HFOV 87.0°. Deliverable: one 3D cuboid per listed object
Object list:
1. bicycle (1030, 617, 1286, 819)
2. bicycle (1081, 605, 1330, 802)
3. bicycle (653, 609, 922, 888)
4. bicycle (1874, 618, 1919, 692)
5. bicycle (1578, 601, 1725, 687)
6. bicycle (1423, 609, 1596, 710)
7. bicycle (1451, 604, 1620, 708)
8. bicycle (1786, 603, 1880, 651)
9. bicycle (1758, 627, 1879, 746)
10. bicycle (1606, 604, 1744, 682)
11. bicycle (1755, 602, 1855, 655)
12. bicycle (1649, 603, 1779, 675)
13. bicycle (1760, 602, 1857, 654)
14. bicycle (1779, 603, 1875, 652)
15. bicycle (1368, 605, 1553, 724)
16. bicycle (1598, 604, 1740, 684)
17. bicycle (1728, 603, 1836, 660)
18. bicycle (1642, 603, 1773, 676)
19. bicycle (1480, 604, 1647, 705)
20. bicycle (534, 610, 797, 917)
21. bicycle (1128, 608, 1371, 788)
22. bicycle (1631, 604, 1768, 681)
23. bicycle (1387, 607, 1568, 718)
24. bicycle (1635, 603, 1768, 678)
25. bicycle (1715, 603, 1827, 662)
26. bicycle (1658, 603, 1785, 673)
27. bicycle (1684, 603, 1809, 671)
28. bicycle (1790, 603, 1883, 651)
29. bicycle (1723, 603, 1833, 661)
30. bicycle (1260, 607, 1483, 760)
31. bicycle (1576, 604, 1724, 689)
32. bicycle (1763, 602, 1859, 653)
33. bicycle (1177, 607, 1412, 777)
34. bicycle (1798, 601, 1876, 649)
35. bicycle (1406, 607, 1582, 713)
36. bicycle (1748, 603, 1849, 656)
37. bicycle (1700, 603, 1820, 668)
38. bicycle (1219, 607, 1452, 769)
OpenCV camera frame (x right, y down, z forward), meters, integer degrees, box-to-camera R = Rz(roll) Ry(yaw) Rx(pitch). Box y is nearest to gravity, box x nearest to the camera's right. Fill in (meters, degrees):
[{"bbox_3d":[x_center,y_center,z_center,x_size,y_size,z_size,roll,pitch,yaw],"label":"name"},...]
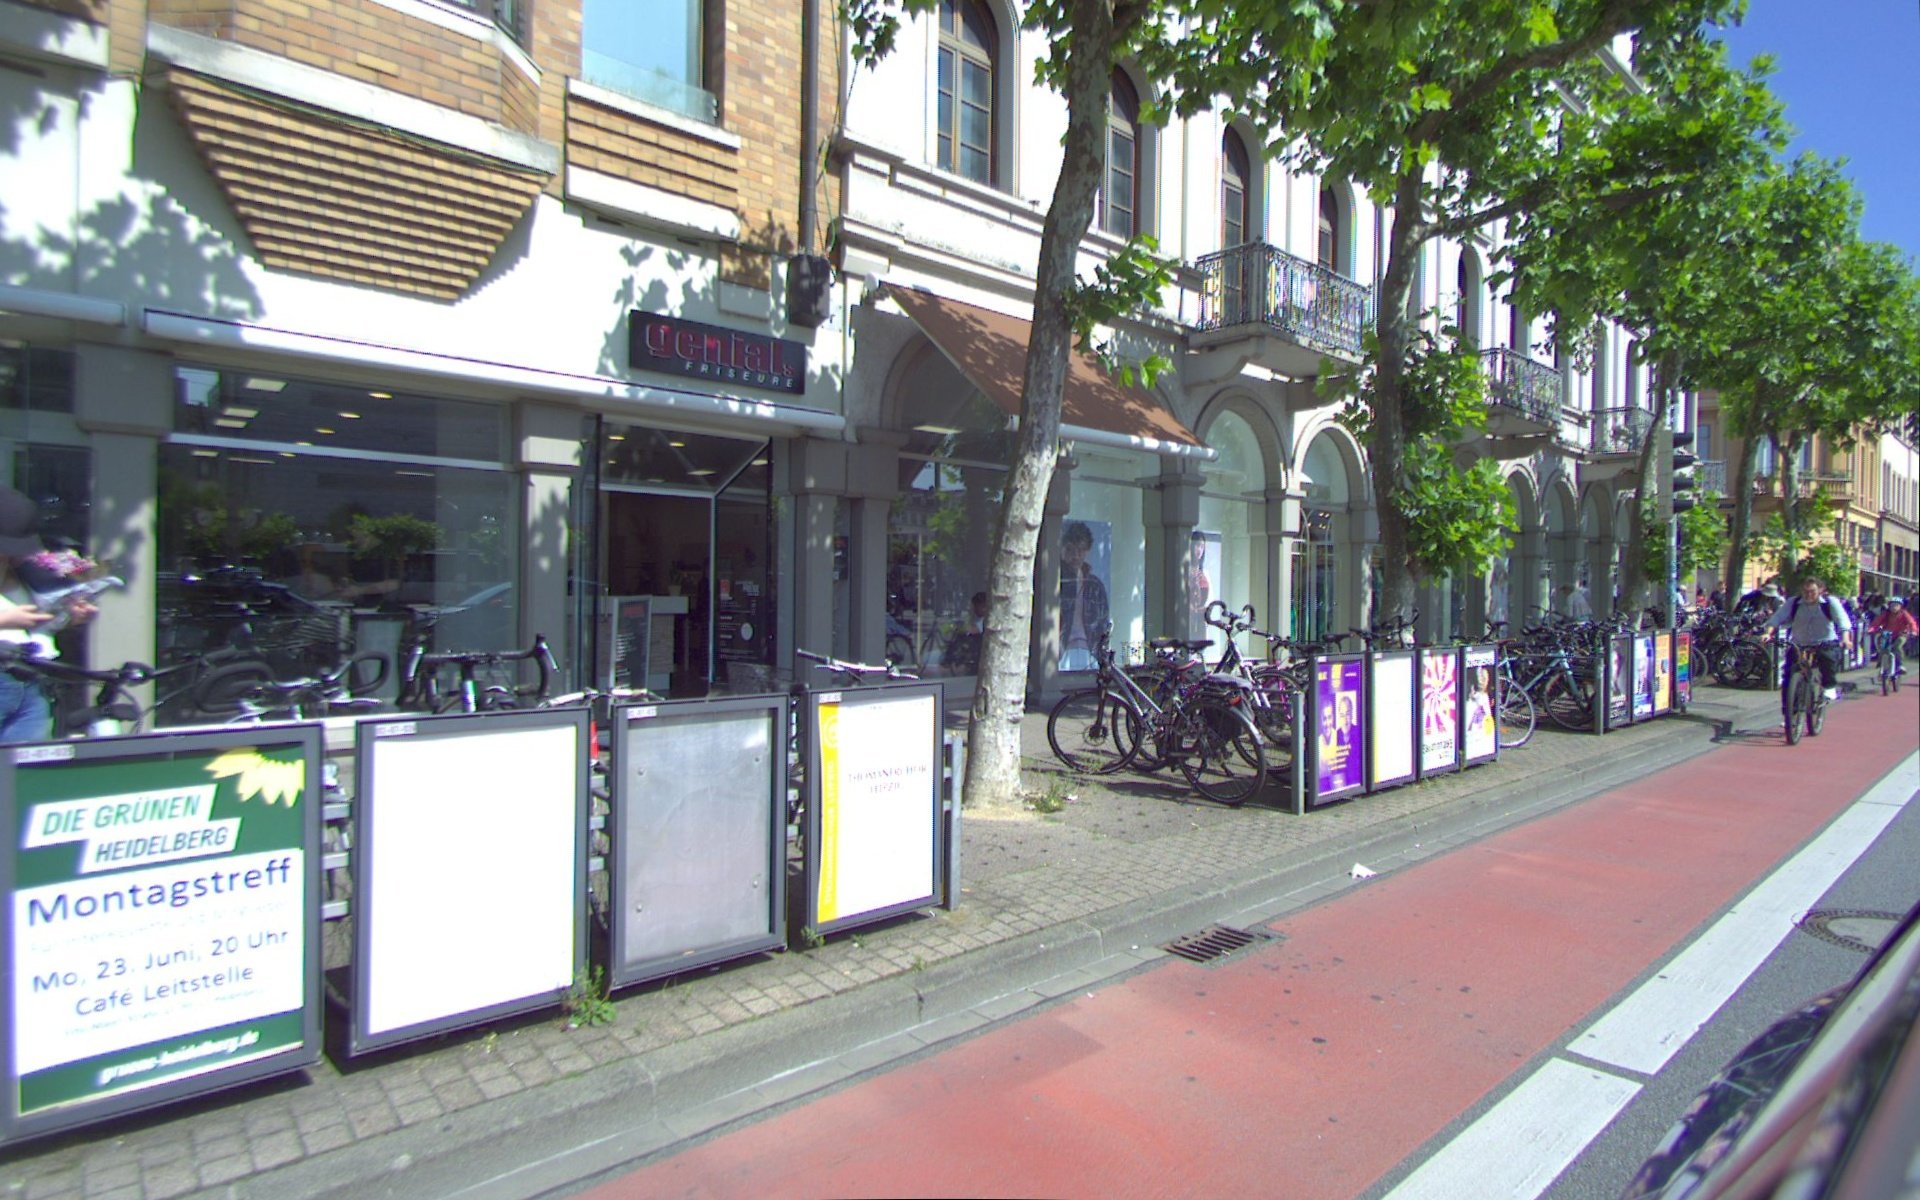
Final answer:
[{"bbox_3d":[1.275,0.716,6.838,0.474,1.137,1.755,1,1,-42],"label":"bicycle"},{"bbox_3d":[1.689,0.659,7.210,0.474,1.202,1.755,1,1,-42],"label":"bicycle"},{"bbox_3d":[-0.950,0.650,5.196,0.491,1.161,1.755,1,1,-42],"label":"bicycle"},{"bbox_3d":[15.013,0.838,15.945,1.788,1.107,0.735,1,-1,-42],"label":"bicycle"},{"bbox_3d":[10.627,0.643,15.609,0.474,1.209,1.802,1,1,-42],"label":"bicycle"},{"bbox_3d":[6.511,0.669,12.075,0.474,1.082,1.755,1,1,-42],"label":"bicycle"},{"bbox_3d":[7.095,0.656,12.539,0.474,1.161,1.755,1,1,-42],"label":"bicycle"},{"bbox_3d":[22.134,0.666,25.683,0.582,1.161,1.755,0,1,-42],"label":"bicycle"},{"bbox_3d":[9.067,0.860,10.661,1.865,1.107,0.735,0,-1,-42],"label":"bicycle"},{"bbox_3d":[11.493,0.658,16.312,0.474,1.161,1.755,1,1,-42],"label":"bicycle"},{"bbox_3d":[20.070,0.658,24.059,0.582,1.161,1.755,0,1,-42],"label":"bicycle"},{"bbox_3d":[13.251,0.656,17.815,0.582,1.161,1.755,0,1,-42],"label":"bicycle"},{"bbox_3d":[20.583,0.658,24.576,0.582,1.161,1.755,0,1,-42],"label":"bicycle"},{"bbox_3d":[21.597,0.664,25.243,0.582,1.161,1.755,0,1,-42],"label":"bicycle"},{"bbox_3d":[5.414,0.655,11.043,0.474,1.161,1.755,1,1,-42],"label":"bicycle"},{"bbox_3d":[11.103,0.655,15.896,0.474,1.161,1.755,1,1,-42],"label":"bicycle"},{"bbox_3d":[17.948,0.657,22.126,0.582,1.161,1.755,0,1,-42],"label":"bicycle"},{"bbox_3d":[12.842,0.652,17.439,0.474,1.161,1.755,1,1,-42],"label":"bicycle"},{"bbox_3d":[7.661,0.655,12.916,0.474,1.161,1.755,1,1,-42],"label":"bicycle"},{"bbox_3d":[-1.458,0.650,4.796,0.474,1.161,1.755,1,1,-42],"label":"bicycle"},{"bbox_3d":[2.110,0.660,7.583,0.474,1.161,1.755,1,1,-42],"label":"bicycle"},{"bbox_3d":[12.083,0.660,16.579,0.474,1.161,1.755,1,1,-42],"label":"bicycle"},{"bbox_3d":[5.780,0.656,11.386,0.474,1.119,1.755,1,1,-42],"label":"bicycle"},{"bbox_3d":[12.473,0.655,17.068,0.474,1.161,1.755,1,1,-42],"label":"bicycle"},{"bbox_3d":[16.989,0.657,21.234,0.582,1.161,1.755,0,1,-42],"label":"bicycle"},{"bbox_3d":[13.735,0.656,18.299,0.582,1.161,1.755,0,1,-42],"label":"bicycle"},{"bbox_3d":[14.566,0.660,18.786,0.582,1.161,1.755,0,1,-42],"label":"bicycle"},{"bbox_3d":[22.600,0.665,26.115,0.582,1.161,1.755,0,1,-42],"label":"bicycle"},{"bbox_3d":[17.465,0.659,21.634,0.582,1.161,1.755,0,1,-42],"label":"bicycle"},{"bbox_3d":[3.507,0.662,8.761,0.474,1.161,1.755,1,1,-42],"label":"bicycle"},{"bbox_3d":[10.326,0.666,15.194,0.474,1.161,1.776,1,1,-42],"label":"bicycle"},{"bbox_3d":[21.001,0.659,24.996,0.582,1.173,1.755,0,1,-42],"label":"bicycle"},{"bbox_3d":[2.591,0.660,8.010,0.474,1.161,1.755,1,1,-42],"label":"bicycle"},{"bbox_3d":[23.401,0.659,27.026,0.418,1.212,1.531,1,0,-42],"label":"bicycle"},{"bbox_3d":[6.152,0.656,11.742,0.474,1.101,1.755,1,1,-42],"label":"bicycle"},{"bbox_3d":[19.521,0.658,23.584,0.582,1.161,1.755,0,1,-42],"label":"bicycle"},{"bbox_3d":[15.531,0.660,19.669,0.582,1.161,1.755,0,1,-42],"label":"bicycle"},{"bbox_3d":[3.049,0.661,8.364,0.518,1.161,1.755,1,1,-42],"label":"bicycle"}]
